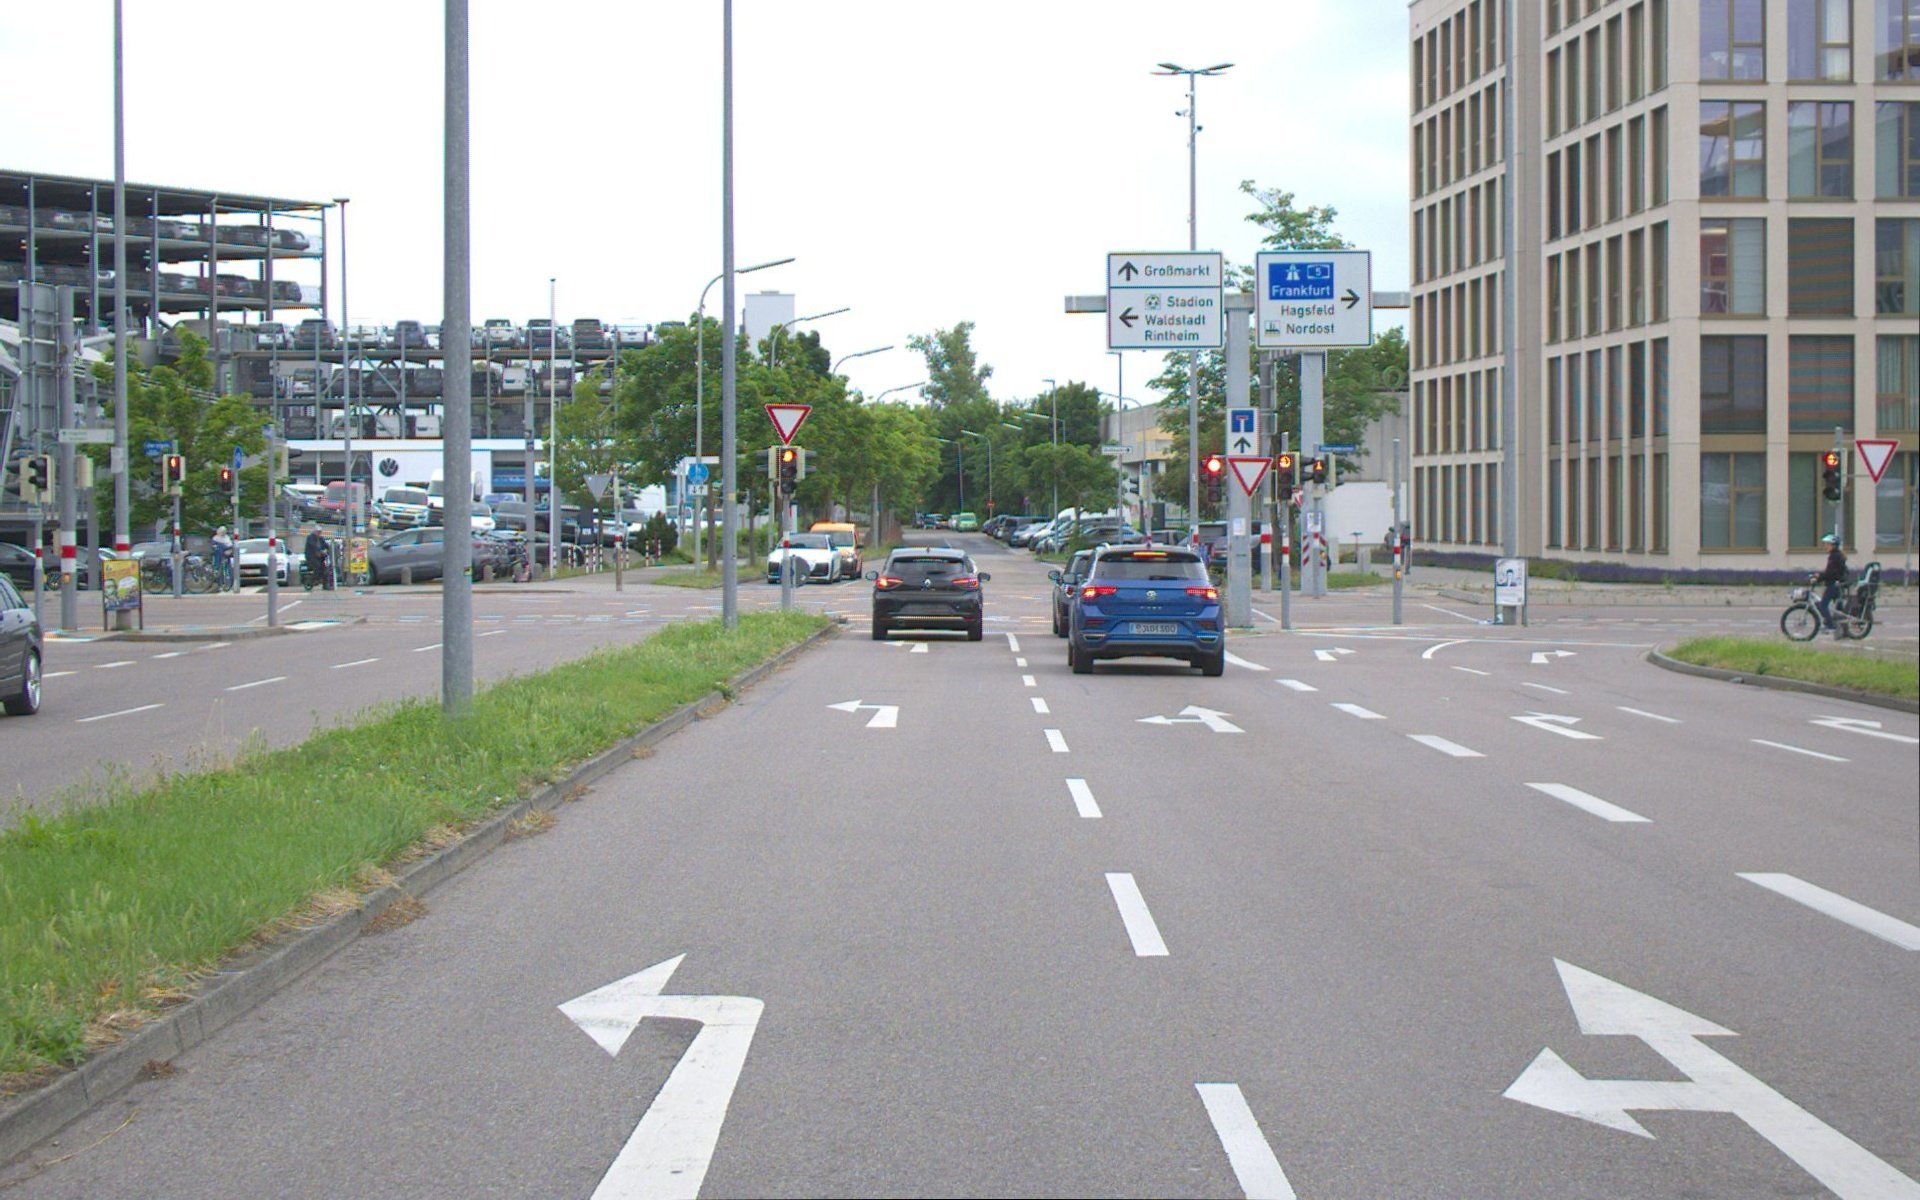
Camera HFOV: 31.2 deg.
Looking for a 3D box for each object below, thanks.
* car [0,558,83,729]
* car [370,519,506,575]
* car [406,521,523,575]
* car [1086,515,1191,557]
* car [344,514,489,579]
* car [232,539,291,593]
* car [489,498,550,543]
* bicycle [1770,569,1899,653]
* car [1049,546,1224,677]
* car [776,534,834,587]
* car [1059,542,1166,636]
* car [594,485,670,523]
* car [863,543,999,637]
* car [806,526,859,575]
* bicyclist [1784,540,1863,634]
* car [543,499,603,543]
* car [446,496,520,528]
[{"bbox_3d":[-9.310,0.410,30.478,1.791,1.474,4.531,-2,1,1],"label":"car"},{"bbox_3d":[-15.220,-1.559,100.305,3.822,1.584,1.683,0,3,-5],"label":"car"},{"bbox_3d":[-15.671,-1.659,108.834,3.604,1.662,1.549,0,3,-5],"label":"car"},{"bbox_3d":[6.712,-2.412,129.293,3.607,1.473,1.758,1,3,20],"label":"car"},{"bbox_3d":[-15.484,-1.524,98.093,3.986,1.784,1.848,0,3,-5],"label":"car"},{"bbox_3d":[-18.941,-0.928,93.173,1.370,1.321,3.035,-1,3,-15],"label":"car"},{"bbox_3d":[-18.182,-3.299,142.076,1.776,1.700,3.916,0,3,4],"label":"car"},{"bbox_3d":[14.119,0.165,55.542,0.700,1.291,2.011,0,2,-37],"label":"bicycle"},{"bbox_3d":[2.092,0.116,41.660,1.835,1.509,4.000,0,0,-1],"label":"car"},{"bbox_3d":[-4.585,-1.189,102.132,1.600,1.448,3.325,0,3,0],"label":"car"},{"bbox_3d":[2.459,-0.203,56.126,1.524,1.427,3.391,1,2,-1],"label":"car"},{"bbox_3d":[-14.533,-4.257,152.308,3.295,1.635,1.480,0,3,-3],"label":"car"},{"bbox_3d":[-0.501,-0.149,54.238,1.987,1.423,4.242,0,0,-3],"label":"car"},{"bbox_3d":[-4.077,-1.609,110.271,1.600,1.448,3.325,0,3,0],"label":"car"},{"bbox_3d":[13.989,-0.218,55.716,0.700,1.498,1.000,0,2,-37],"label":"bicyclist"},{"bbox_3d":[-15.992,-3.294,142.127,1.776,1.700,3.916,0,3,4],"label":"car"},{"bbox_3d":[-23.969,-4.432,172.861,3.661,1.523,1.615,0,3,-7],"label":"car"}]
